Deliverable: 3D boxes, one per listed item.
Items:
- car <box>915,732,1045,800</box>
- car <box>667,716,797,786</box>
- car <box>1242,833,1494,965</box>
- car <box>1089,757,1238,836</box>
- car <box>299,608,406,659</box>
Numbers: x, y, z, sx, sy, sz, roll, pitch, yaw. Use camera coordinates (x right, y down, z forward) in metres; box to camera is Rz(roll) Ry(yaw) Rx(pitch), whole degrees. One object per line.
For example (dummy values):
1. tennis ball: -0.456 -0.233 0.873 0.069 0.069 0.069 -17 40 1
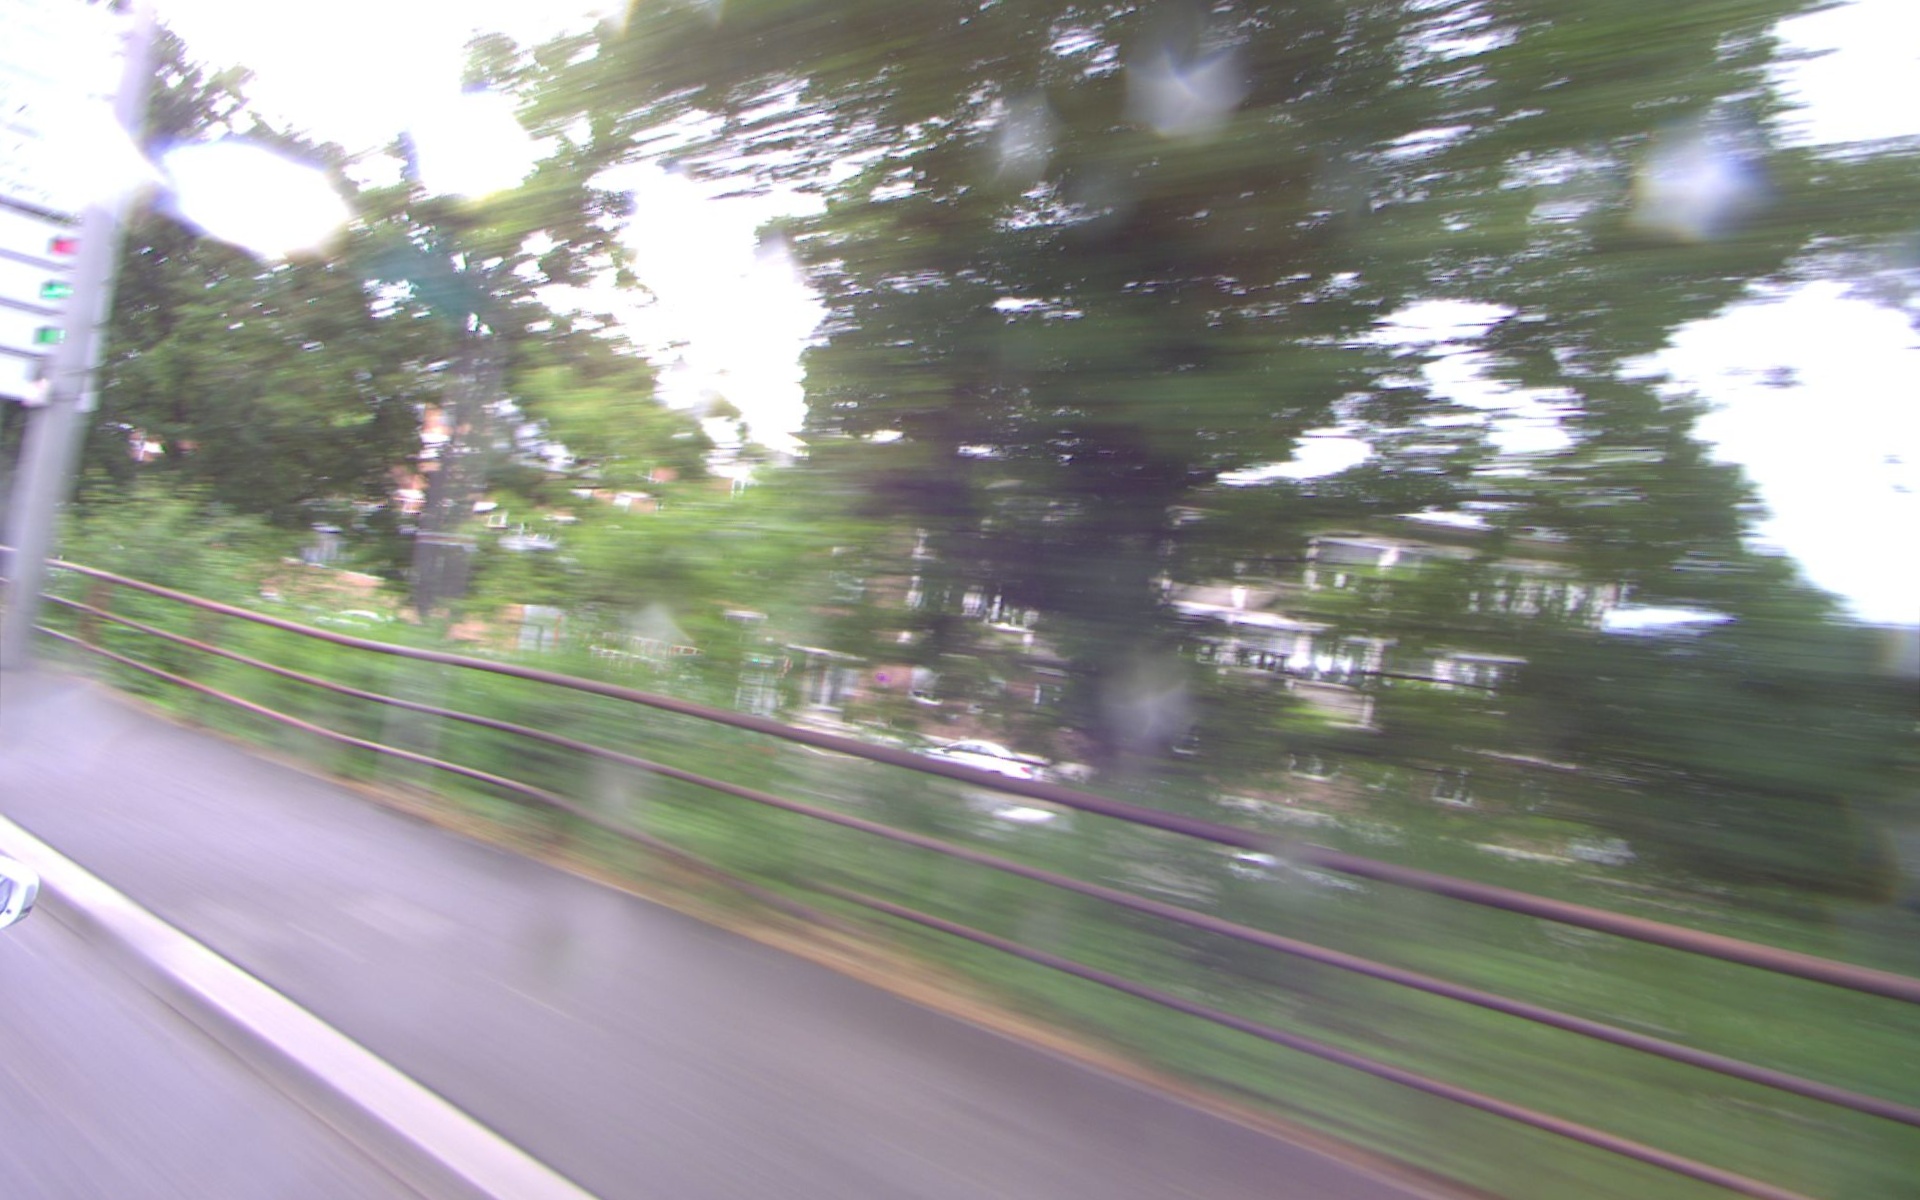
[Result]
1. car: 0.688 5.522 33.755 3.924 1.411 1.670 8 -1 16
2. car: -5.776 3.820 25.873 1.487 1.412 3.416 9 -3 21
3. car: 8.120 5.981 20.416 4.366 1.439 1.750 8 -2 12
4. car: 6.439 6.199 32.034 4.366 1.542 1.750 8 -2 12
5. car: -25.101 1.400 41.589 3.786 1.503 1.704 8 -1 22
